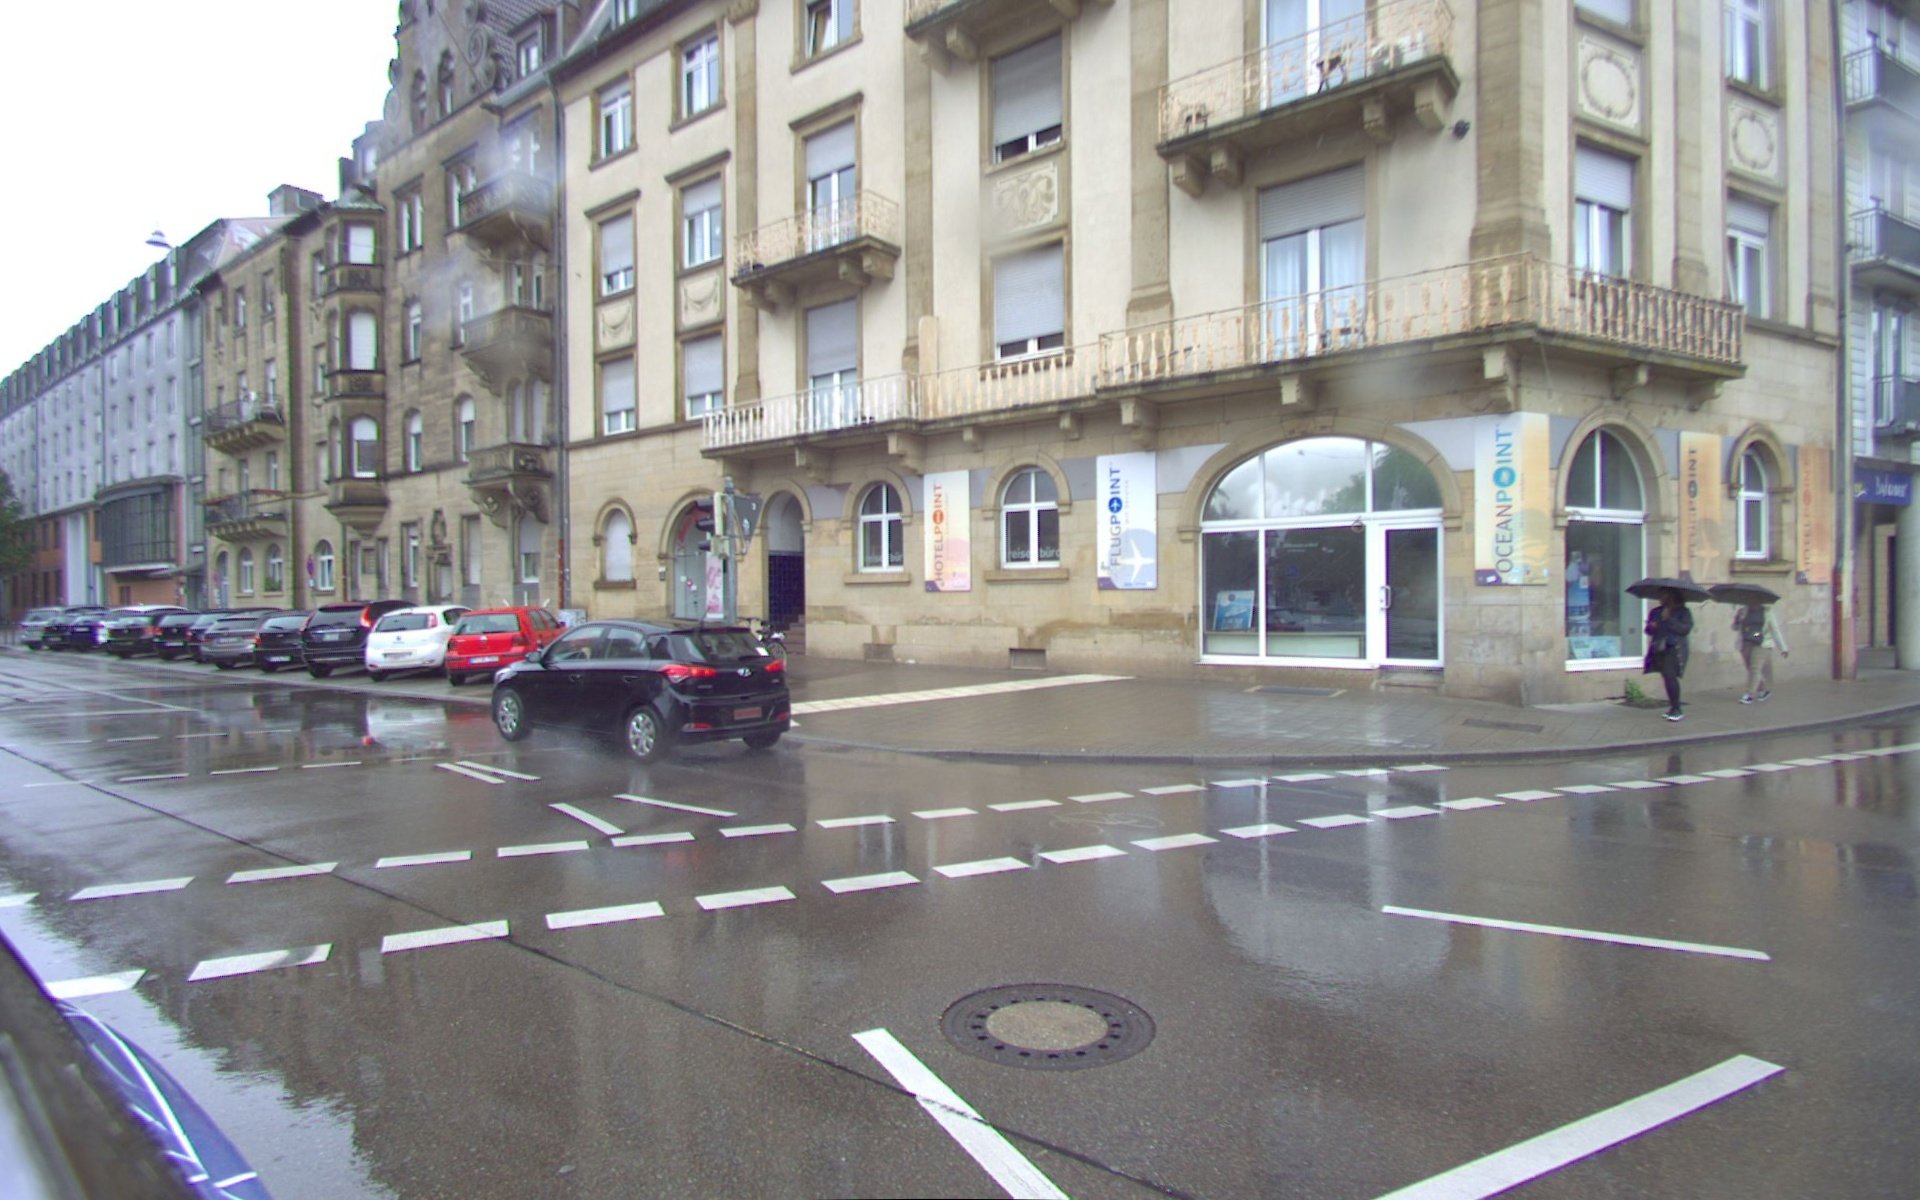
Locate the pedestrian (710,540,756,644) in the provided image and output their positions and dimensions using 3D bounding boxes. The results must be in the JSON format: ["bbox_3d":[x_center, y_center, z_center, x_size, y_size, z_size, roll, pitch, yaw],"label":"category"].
[{"bbox_3d":[-5.257,-0.181,23.399,0.834,2.357,0.766,0,0,-29],"label":"pedestrian"}]

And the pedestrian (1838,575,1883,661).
[{"bbox_3d":[19.036,0.374,21.389,0.601,1.793,0.501,0,0,-27],"label":"pedestrian"}]

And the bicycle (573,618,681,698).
[{"bbox_3d":[-5.788,0.979,17.668,0.467,1.193,1.794,-1,3,36],"label":"bicycle"}]

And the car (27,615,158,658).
[{"bbox_3d":[-32.826,1.337,38.433,1.695,1.539,3.724,0,-1,3],"label":"car"}]

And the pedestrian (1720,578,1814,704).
[{"bbox_3d":[11.177,0.540,14.031,0.731,1.671,0.743,-1,3,-32],"label":"pedestrian"}]

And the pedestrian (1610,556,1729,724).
[{"bbox_3d":[8.767,0.454,12.525,0.688,1.980,0.924,0,2,-26],"label":"pedestrian"}]

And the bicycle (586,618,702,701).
[{"bbox_3d":[-5.367,0.979,17.334,0.474,1.193,1.963,-1,3,35],"label":"bicycle"}]

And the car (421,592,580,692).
[{"bbox_3d":[-9.235,0.756,20.704,1.775,1.518,4.008,-4,4,-7],"label":"car"}]

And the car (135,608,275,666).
[{"bbox_3d":[-23.391,1.098,31.530,1.605,1.555,3.761,-2,1,-2],"label":"car"}]

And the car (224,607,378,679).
[{"bbox_3d":[-16.514,1.028,25.549,1.677,1.536,3.311,-2,1,0],"label":"car"}]

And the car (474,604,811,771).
[{"bbox_3d":[-3.614,0.855,11.286,3.773,1.558,1.727,-1,-2,38],"label":"car"}]

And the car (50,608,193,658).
[{"bbox_3d":[-30.577,1.155,37.043,1.880,1.538,3.720,0,3,7],"label":"car"}]

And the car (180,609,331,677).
[{"bbox_3d":[-18.838,1.097,27.259,1.677,1.555,3.431,-2,1,-1],"label":"car"}]

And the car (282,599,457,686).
[{"bbox_3d":[-13.735,0.914,23.827,1.739,1.704,4.086,-2,1,-1],"label":"car"}]

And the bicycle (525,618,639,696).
[{"bbox_3d":[-6.887,1.015,18.510,0.600,1.193,1.790,-1,4,44],"label":"bicycle"}]

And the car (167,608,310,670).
[{"bbox_3d":[-21.116,1.088,29.774,1.606,1.555,3.442,-2,1,2],"label":"car"}]

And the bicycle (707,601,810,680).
[{"bbox_3d":[-3.659,0.707,18.578,0.583,1.356,2.040,-1,0,33],"label":"bicycle"}]

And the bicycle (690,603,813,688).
[{"bbox_3d":[-3.594,0.749,17.635,0.638,1.356,2.321,-1,0,33],"label":"bicycle"}]

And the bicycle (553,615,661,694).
[{"bbox_3d":[-6.244,0.941,17.983,0.474,1.193,1.794,-1,4,37],"label":"bicycle"}]

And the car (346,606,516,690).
[{"bbox_3d":[-11.541,0.979,22.409,1.680,1.545,3.995,-2,1,-1],"label":"car"}]

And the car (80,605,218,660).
[{"bbox_3d":[-28.270,1.096,35.433,1.754,1.639,3.727,-2,1,1],"label":"car"}]

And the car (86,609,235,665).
[{"bbox_3d":[-25.990,1.149,33.059,1.755,1.555,3.724,-2,1,3],"label":"car"}]

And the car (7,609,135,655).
[{"bbox_3d":[-35.283,1.219,40.290,1.789,1.743,3.926,0,-1,-3],"label":"car"}]
